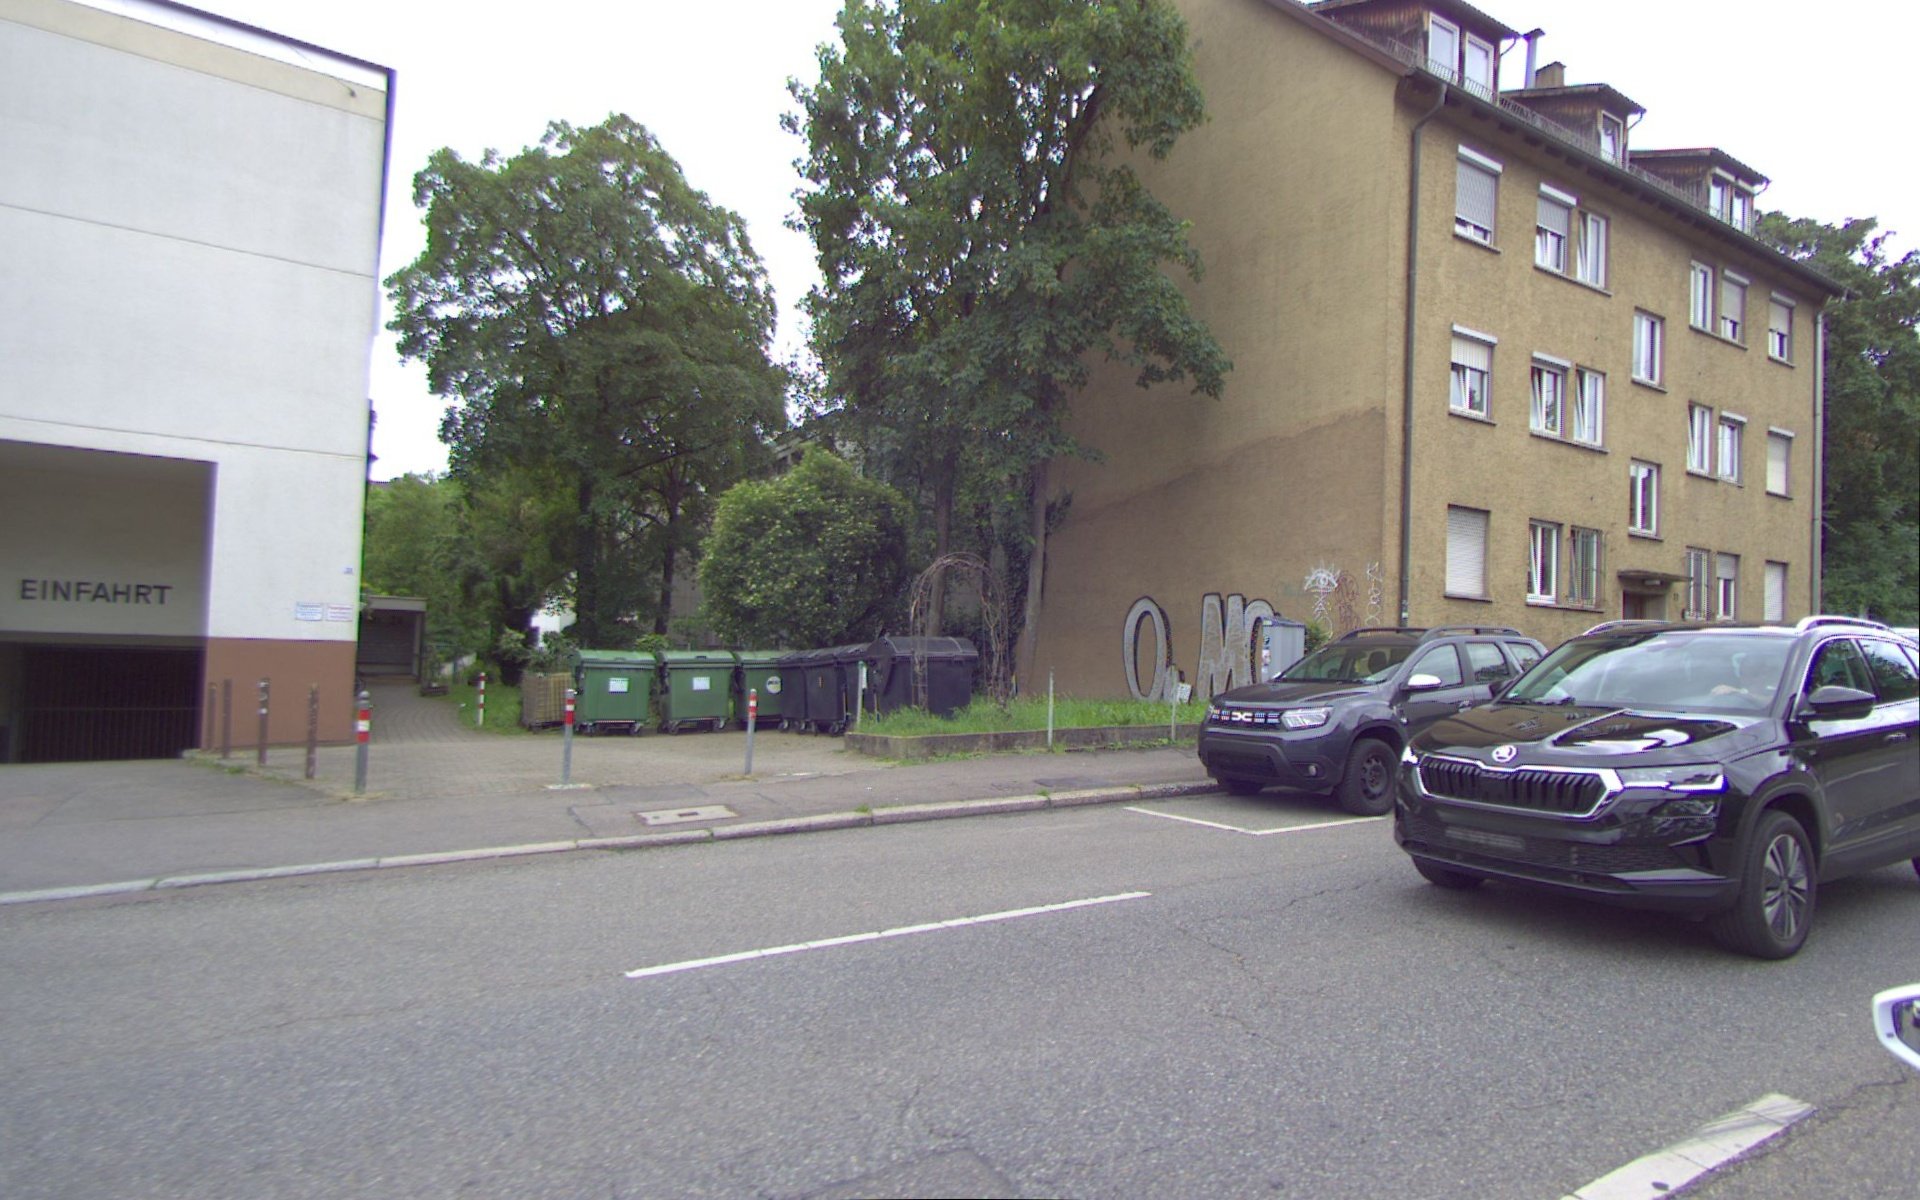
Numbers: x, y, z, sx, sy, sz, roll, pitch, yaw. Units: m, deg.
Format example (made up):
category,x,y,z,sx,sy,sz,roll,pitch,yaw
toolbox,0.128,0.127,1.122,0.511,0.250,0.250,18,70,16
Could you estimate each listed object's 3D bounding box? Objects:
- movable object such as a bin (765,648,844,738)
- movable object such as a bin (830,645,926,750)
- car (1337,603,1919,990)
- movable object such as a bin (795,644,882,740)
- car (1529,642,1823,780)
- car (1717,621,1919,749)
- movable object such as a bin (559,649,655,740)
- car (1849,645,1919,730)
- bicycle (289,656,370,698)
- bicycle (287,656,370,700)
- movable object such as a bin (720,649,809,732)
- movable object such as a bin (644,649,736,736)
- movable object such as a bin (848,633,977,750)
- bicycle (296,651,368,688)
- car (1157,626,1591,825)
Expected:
category,x,y,z,sx,sy,sz,roll,pitch,yaw
movable object such as a bin,-2.739,1.583,17.588,0.903,1.447,1.385,1,-1,-32
movable object such as a bin,-1.256,1.426,15.148,0.903,1.447,1.385,1,-1,-32
car,4.406,0.891,6.046,4.115,1.611,1.832,1,-2,-30
movable object such as a bin,-1.995,1.457,16.375,0.903,1.447,1.385,1,-1,-32
car,9.499,1.346,13.263,4.054,1.550,1.742,1,-3,-32
car,14.120,1.263,15.930,4.504,1.777,1.768,1,-3,-30
movable object such as a bin,-6.061,1.581,17.243,1.382,1.447,0.905,1,-1,-32
car,18.146,1.547,18.338,3.867,1.458,1.738,1,-3,-30
bicycle,-17.873,2.174,28.517,1.911,1.152,0.455,1,-1,-29
bicycle,-17.635,2.169,28.101,1.911,1.152,0.455,1,-1,-29
movable object such as a bin,-3.652,1.655,18.762,1.382,1.447,0.905,1,-1,-32
movable object such as a bin,-4.846,1.618,18.001,1.382,1.447,0.905,1,-1,-32
movable object such as a bin,-0.652,1.183,13.566,1.266,1.447,1.273,1,-1,-34
bicycle,-20.097,2.214,32.168,1.911,1.152,0.455,1,-1,-29
car,4.207,1.124,10.089,4.212,1.630,1.776,1,-4,-29
